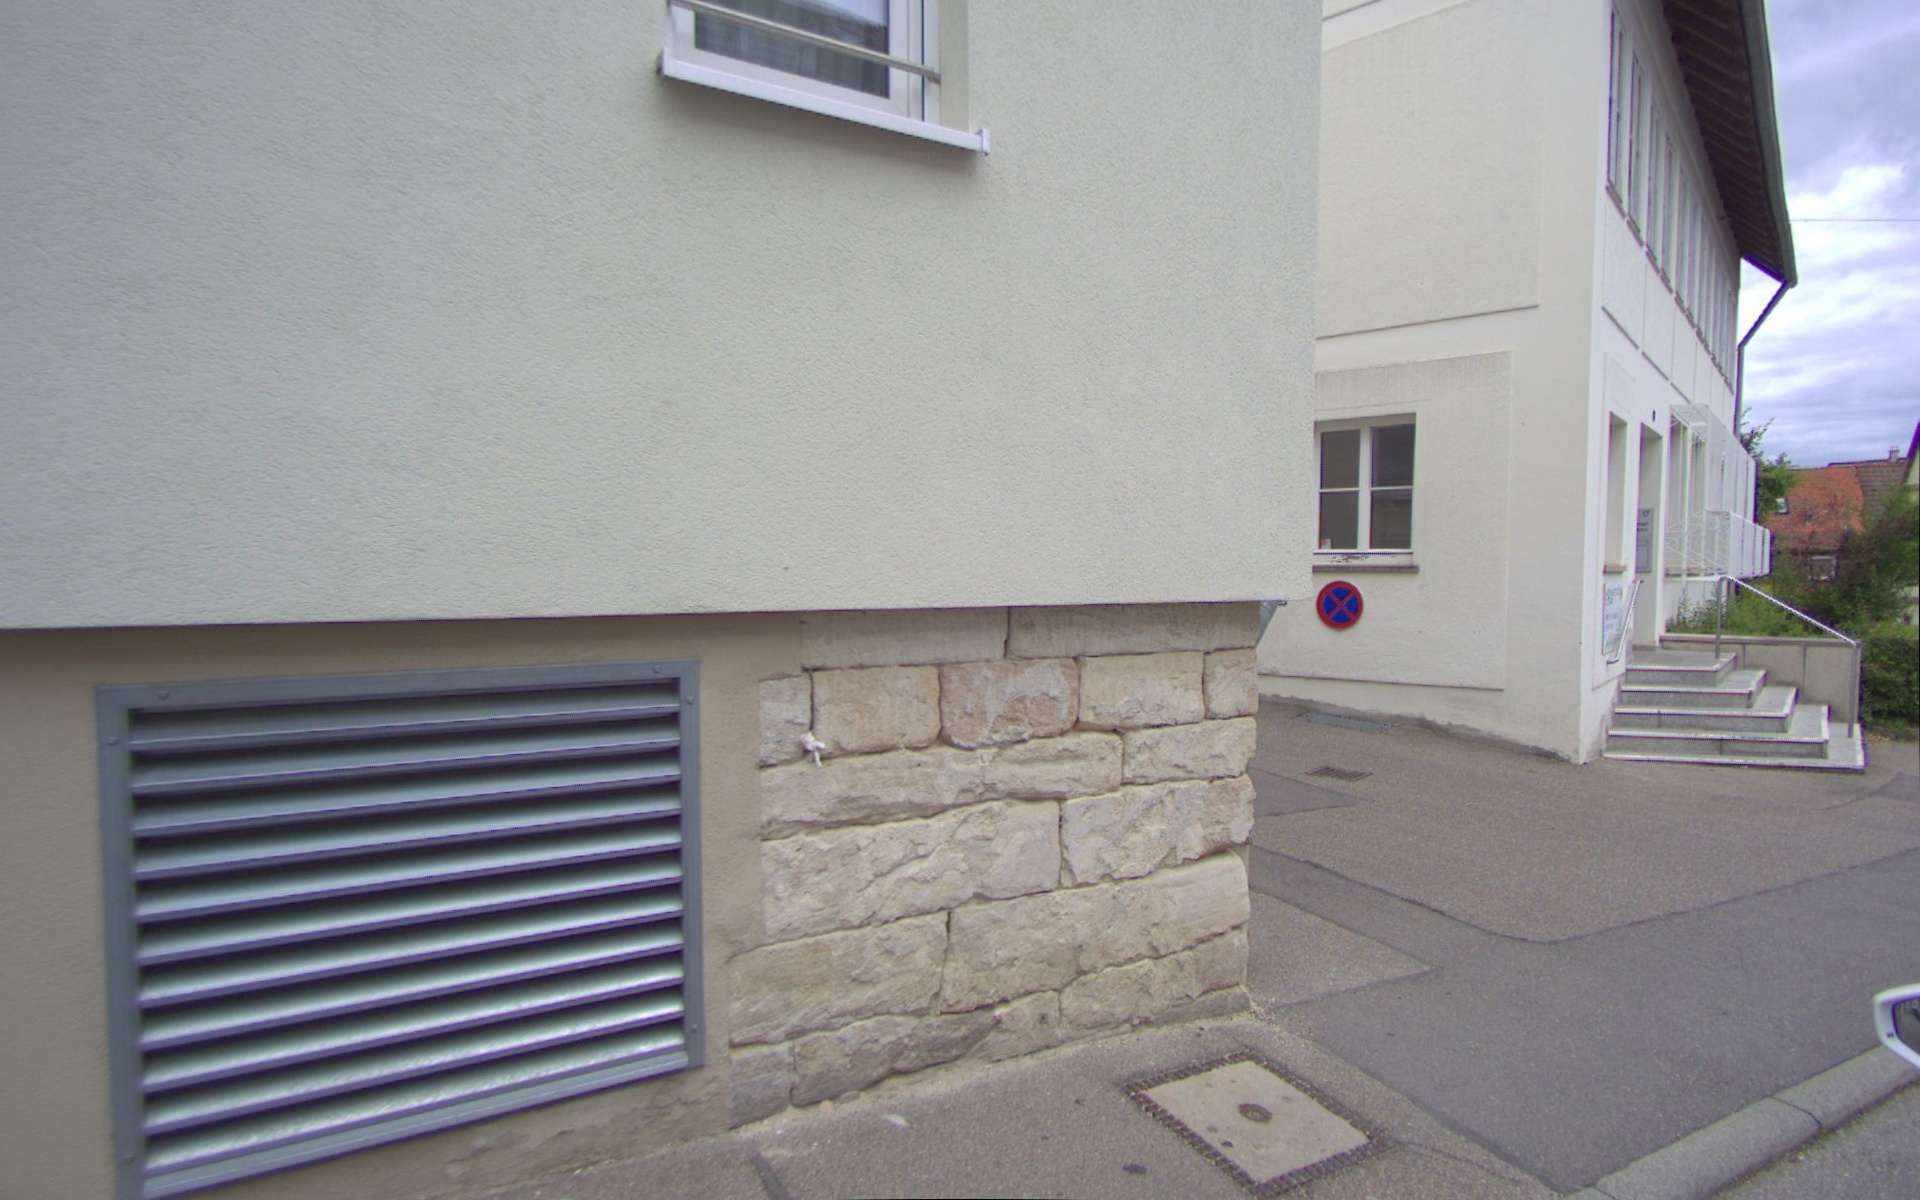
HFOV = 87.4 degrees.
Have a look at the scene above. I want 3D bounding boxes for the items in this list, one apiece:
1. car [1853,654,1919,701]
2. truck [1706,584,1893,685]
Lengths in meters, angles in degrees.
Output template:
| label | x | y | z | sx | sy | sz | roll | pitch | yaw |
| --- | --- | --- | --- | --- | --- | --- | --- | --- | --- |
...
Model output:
| label | x | y | z | sx | sy | sz | roll | pitch | yaw |
| --- | --- | --- | --- | --- | --- | --- | --- | --- | --- |
| car | 32.286 | 2.637 | 33.791 | 1.703 | 1.525 | 4.054 | 3 | -2 | 16 |
| truck | 34.146 | 1.440 | 41.331 | 2.630 | 3.644 | 8.111 | 2 | -2 | 14 |
